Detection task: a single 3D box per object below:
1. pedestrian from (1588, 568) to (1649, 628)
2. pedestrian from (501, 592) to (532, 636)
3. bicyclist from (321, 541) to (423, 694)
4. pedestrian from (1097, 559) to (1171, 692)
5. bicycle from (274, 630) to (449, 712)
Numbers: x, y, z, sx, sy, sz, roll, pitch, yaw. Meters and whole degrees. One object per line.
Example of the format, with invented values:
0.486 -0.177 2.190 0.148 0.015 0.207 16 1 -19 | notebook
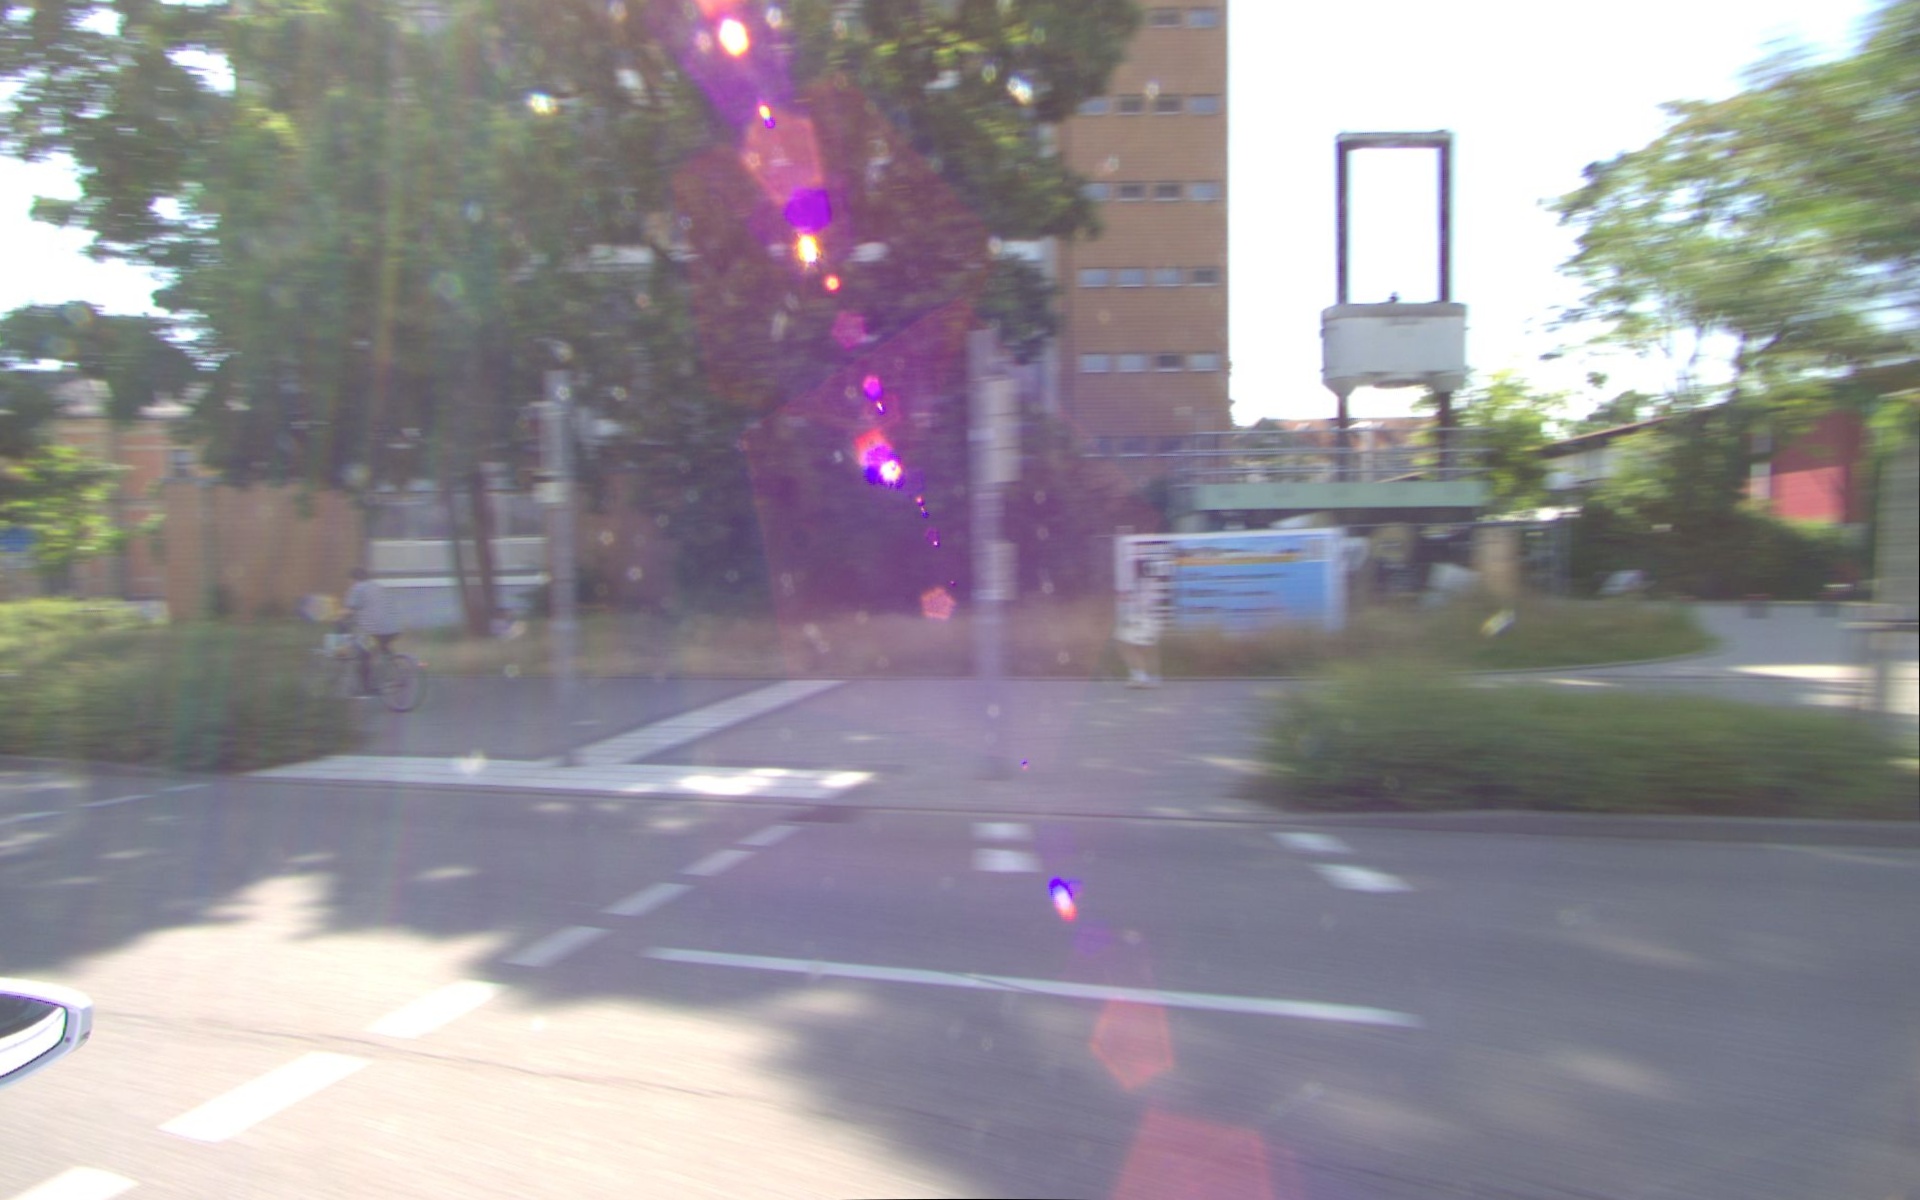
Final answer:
14.000 -0.049 21.315 0.780 1.230 0.757 2 2 6 | pedestrian
-9.251 0.291 20.874 0.421 0.904 0.393 -1 2 9 | pedestrian
-7.554 0.220 12.892 0.844 1.904 0.687 -1 2 13 | bicyclist
2.146 0.306 12.448 0.798 1.601 0.692 -1 2 2 | pedestrian
-7.728 0.916 12.953 1.921 0.960 0.693 -1 4 12 | bicycle
